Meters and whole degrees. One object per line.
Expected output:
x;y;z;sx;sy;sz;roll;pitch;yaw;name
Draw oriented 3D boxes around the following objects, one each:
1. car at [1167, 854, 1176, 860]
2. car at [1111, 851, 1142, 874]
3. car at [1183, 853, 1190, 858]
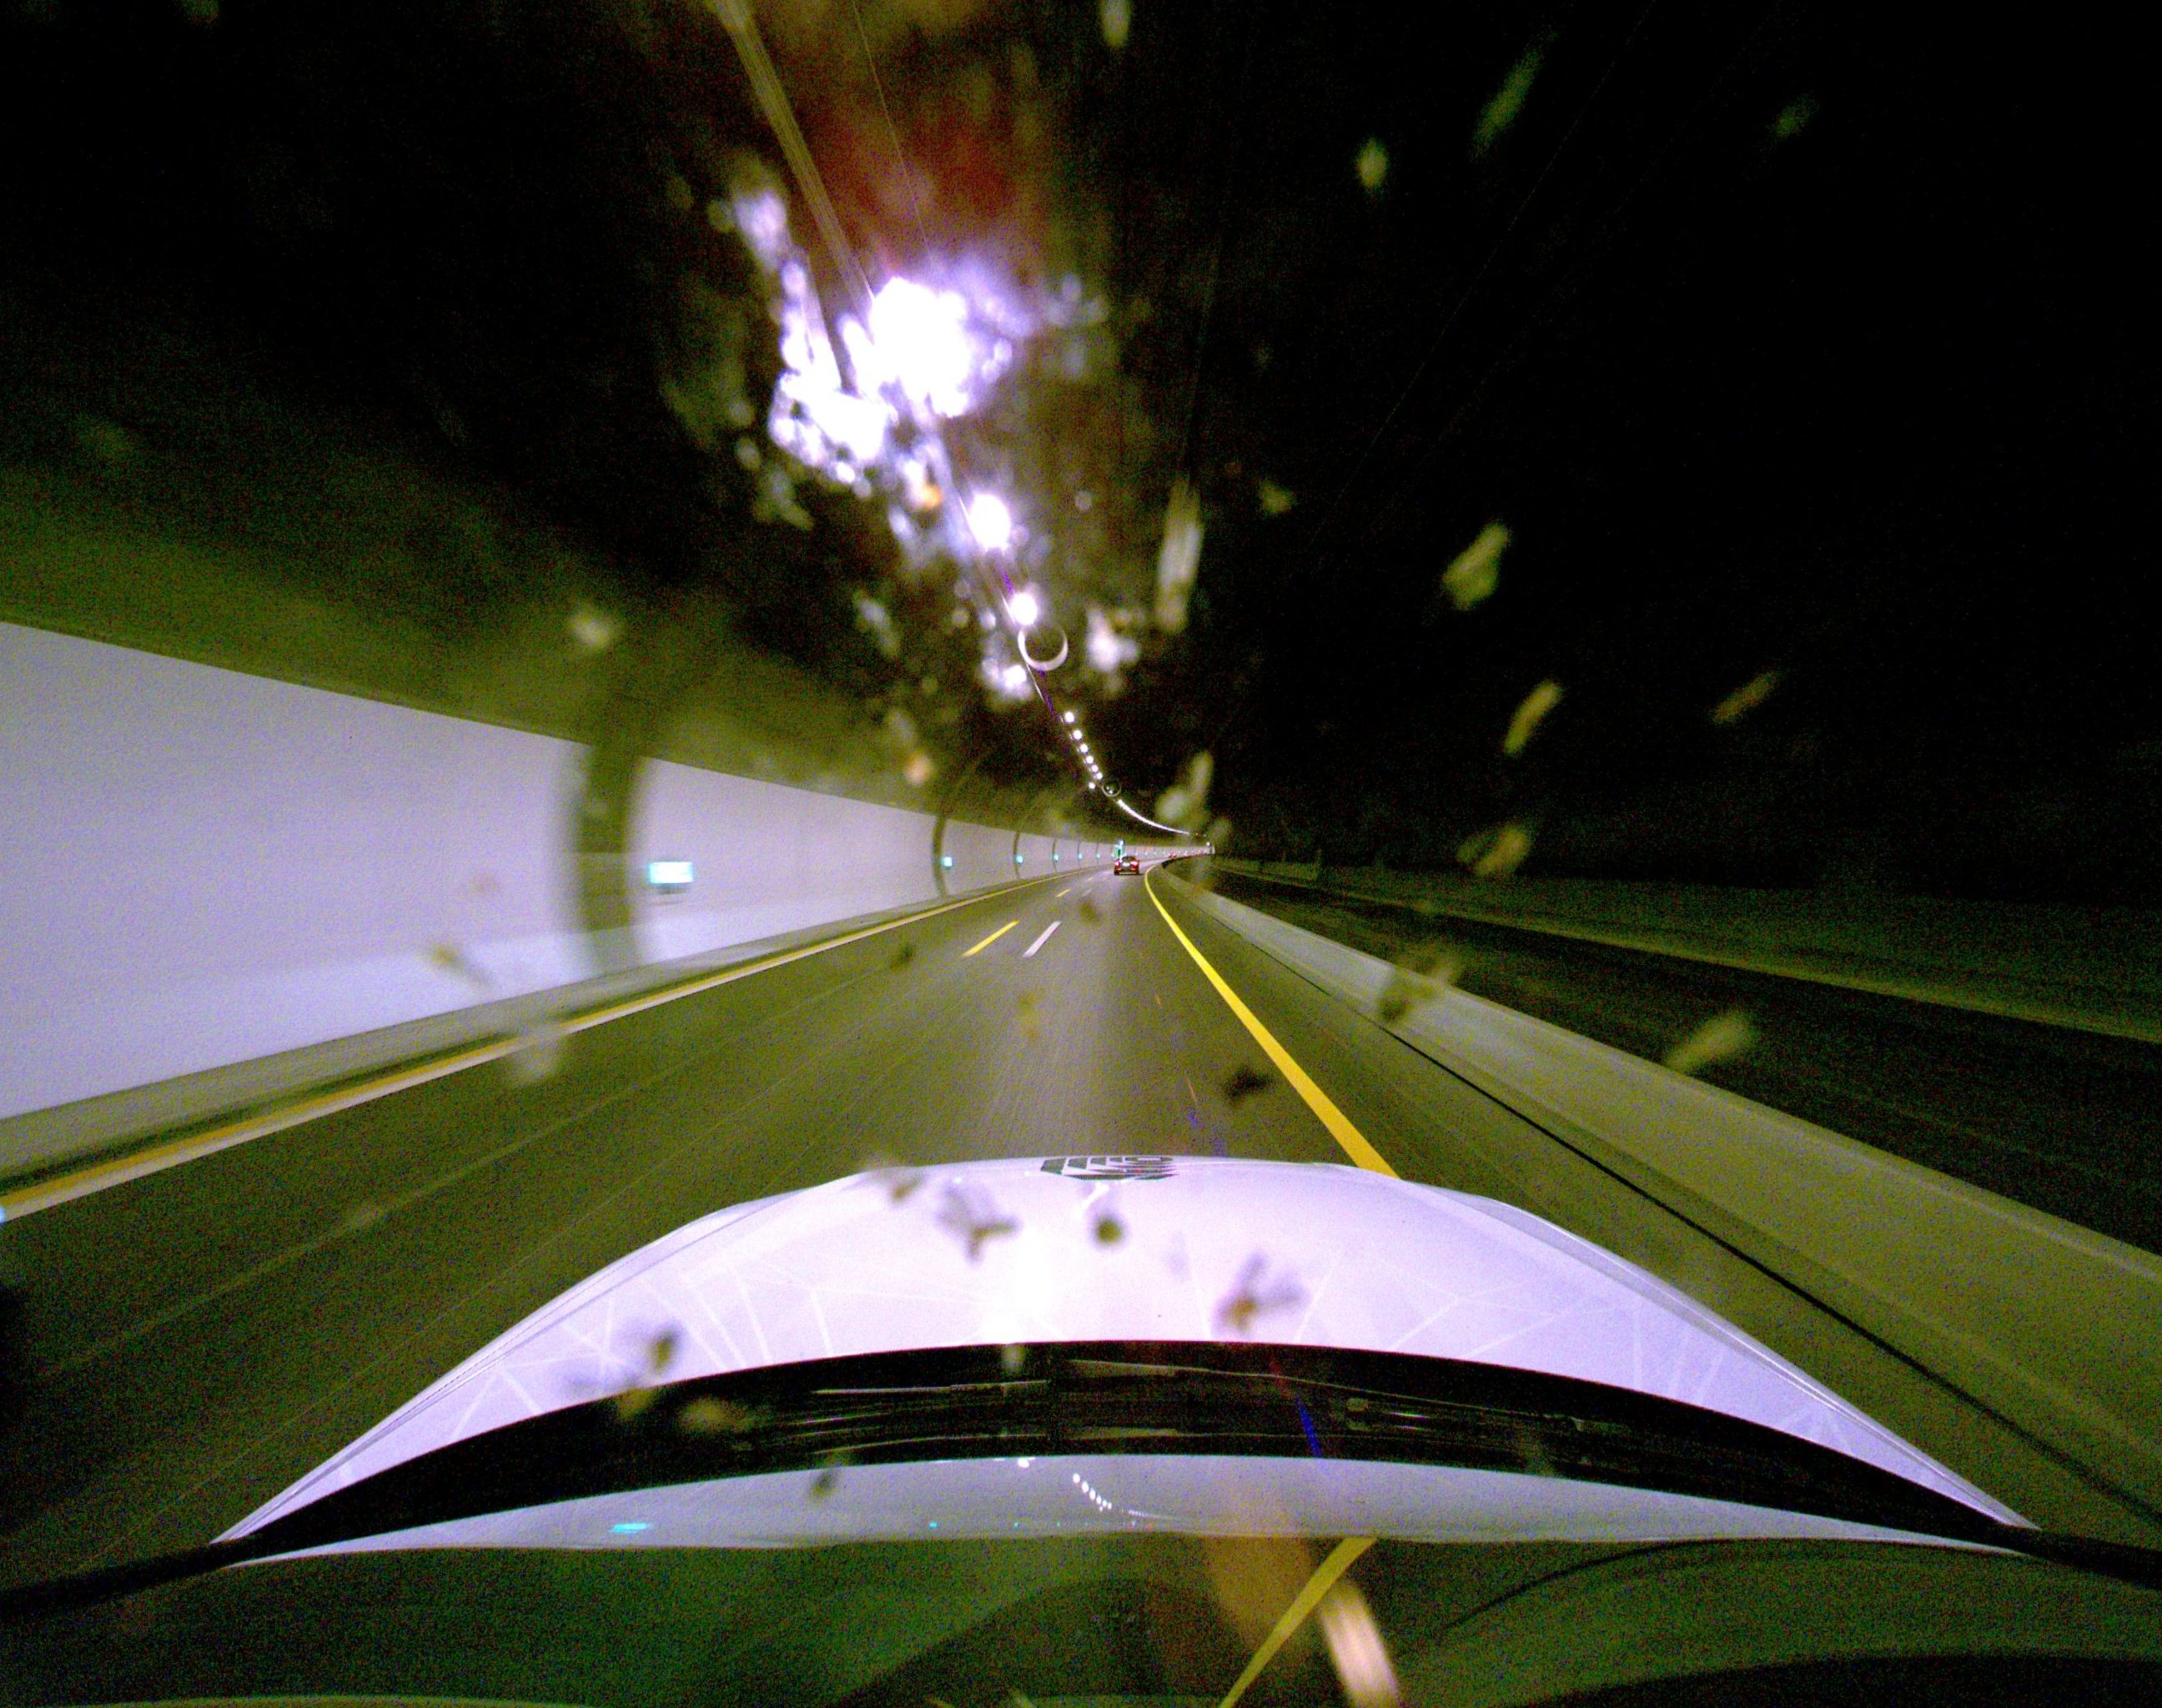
24.983;0.748;224.952;2.150;1.486;4.013;-1;0;12;car
3.489;0.617;61.514;2.130;1.706;4.007;-1;0;6;car
29.709;0.391;229.577;1.584;1.333;3.763;-1;0;12;car
